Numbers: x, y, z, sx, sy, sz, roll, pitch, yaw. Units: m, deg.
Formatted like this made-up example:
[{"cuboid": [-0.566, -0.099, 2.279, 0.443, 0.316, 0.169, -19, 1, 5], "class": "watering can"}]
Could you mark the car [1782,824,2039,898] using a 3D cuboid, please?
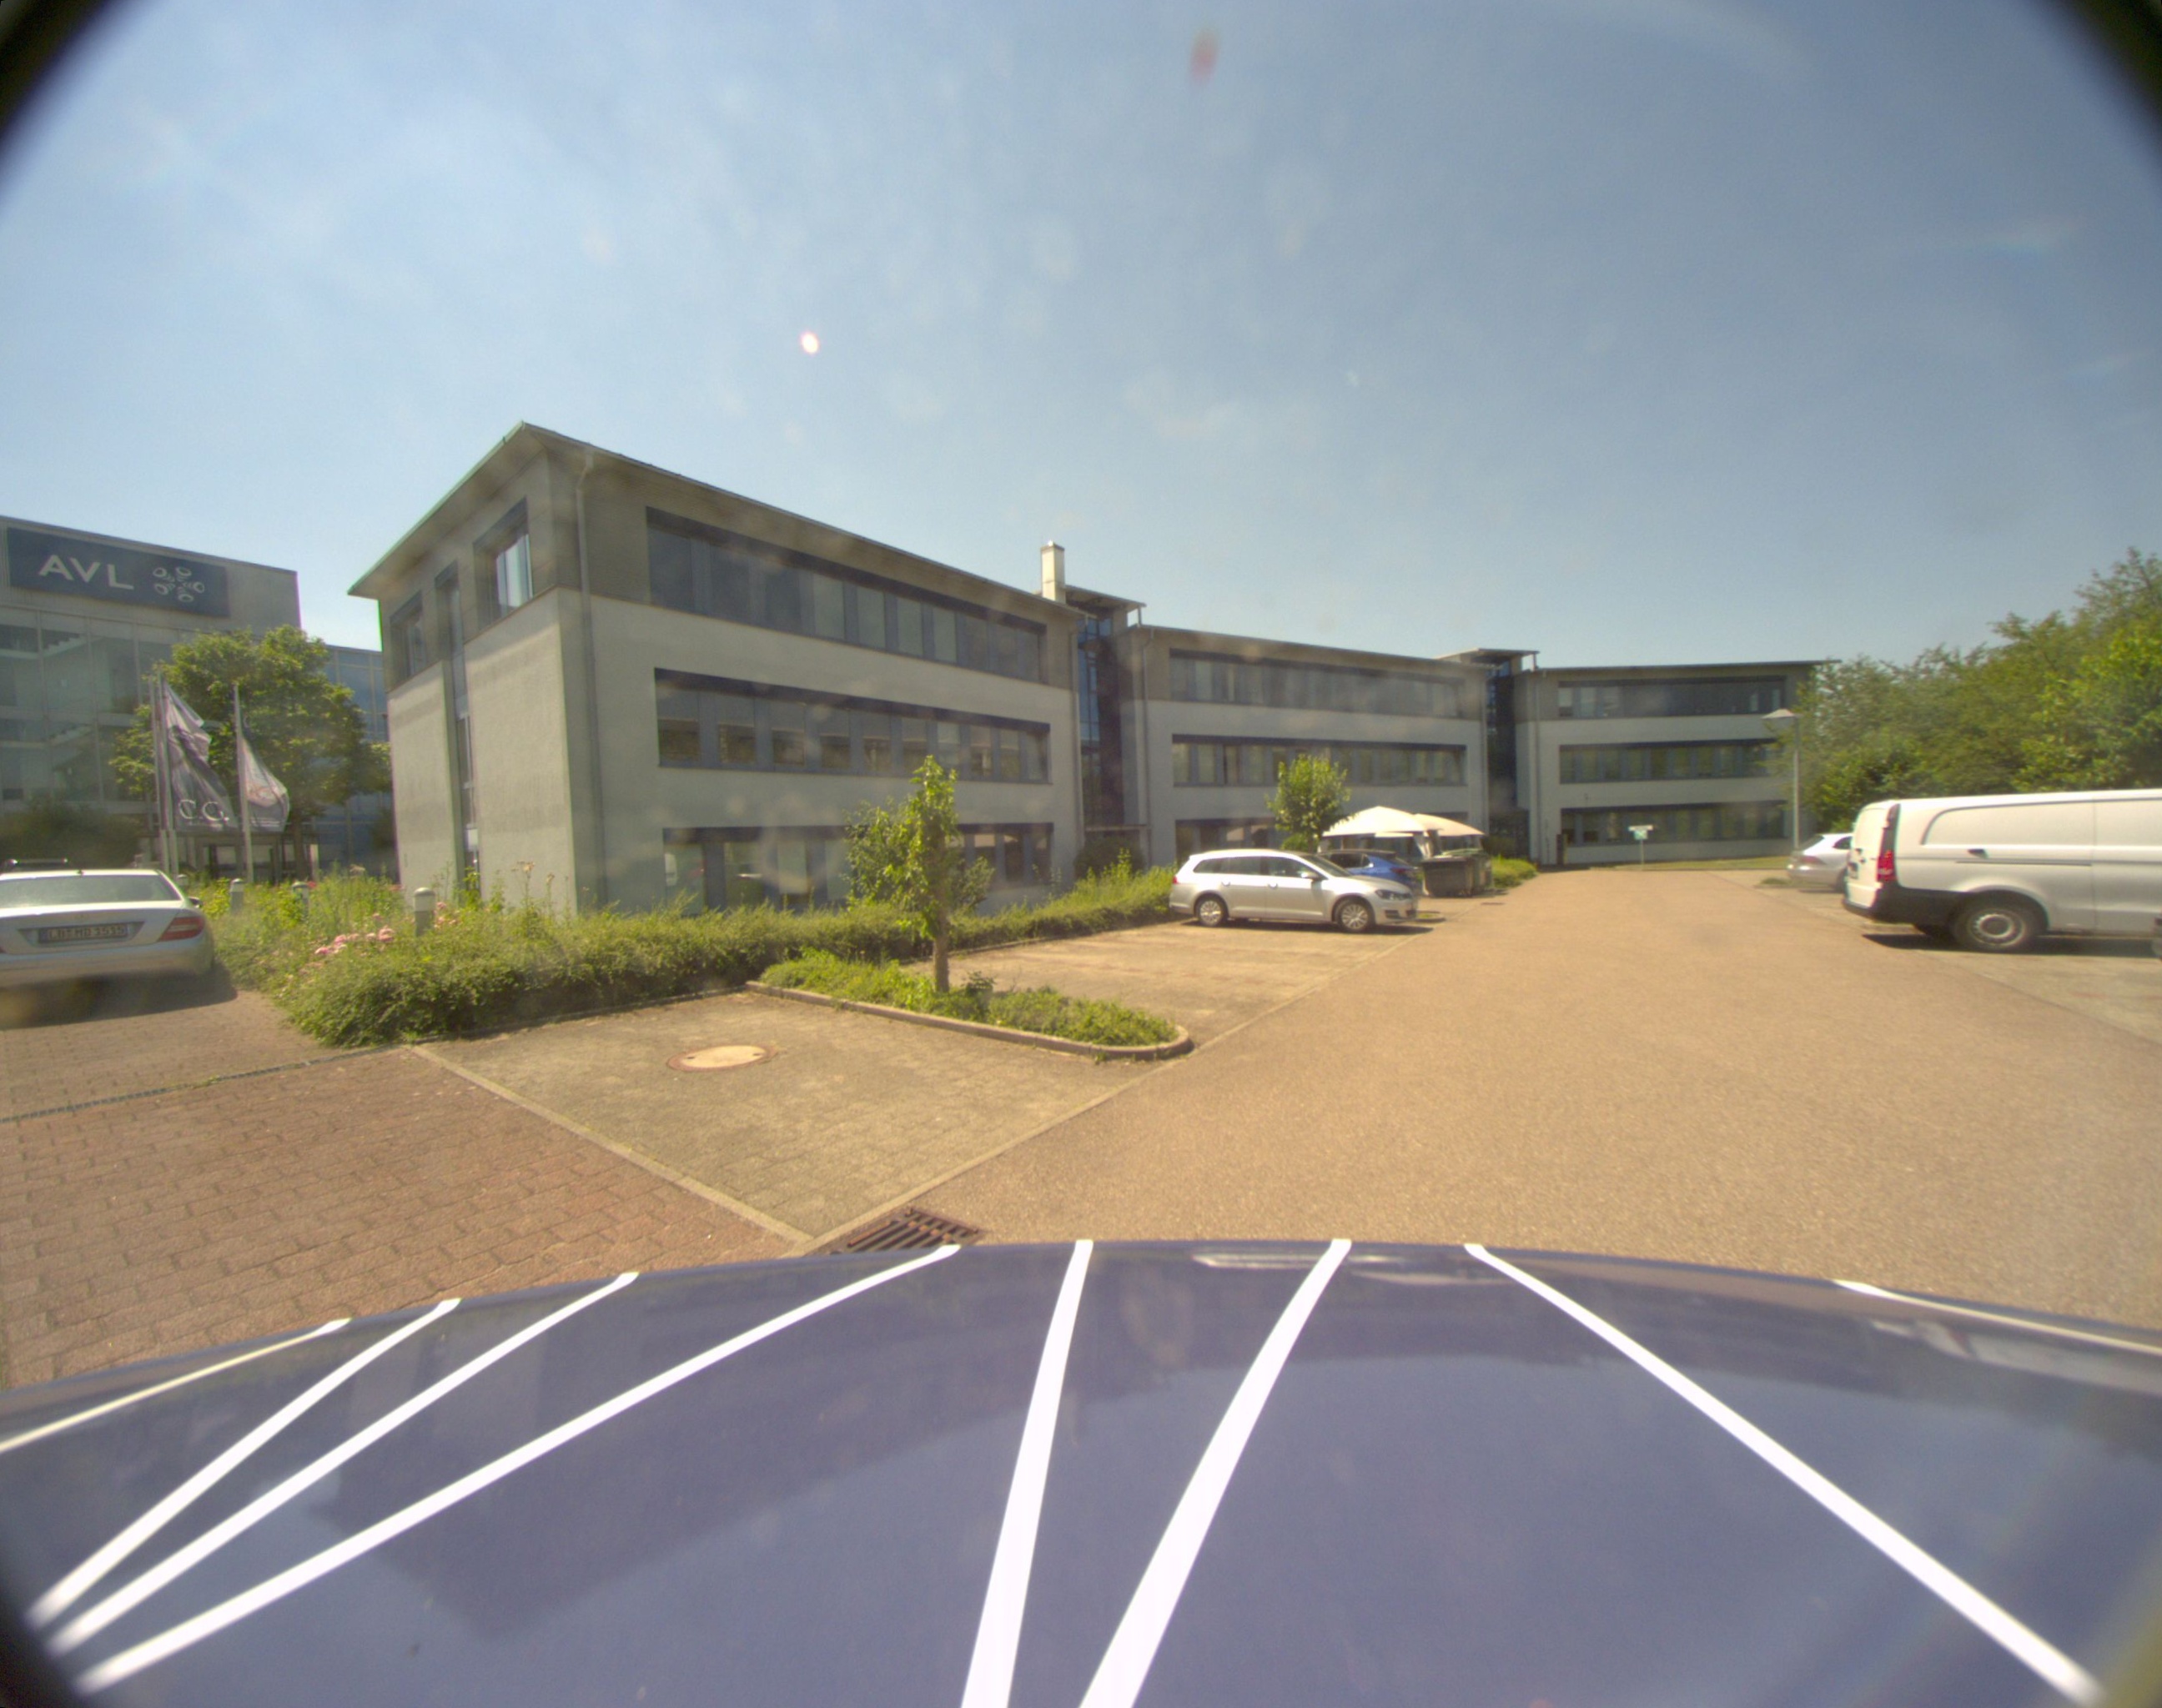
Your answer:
[{"cuboid": [19.013, 0.171, 17.682, 3.755, 1.549, 1.664, -1, 1, 34], "class": "car"}]

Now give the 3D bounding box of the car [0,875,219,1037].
[{"cuboid": [-11.182, 0.994, 8.418, 3.706, 1.428, 1.733, -1, 1, 36], "class": "car"}]

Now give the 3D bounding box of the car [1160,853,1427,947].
[{"cuboid": [3.944, 0.747, 14.369, 4.508, 1.489, 1.833, 0, 2, 34], "class": "car"}]

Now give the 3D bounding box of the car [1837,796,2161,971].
[{"cuboid": [12.177, 0.296, 8.838, 4.508, 1.871, 1.833, -1, 1, 34], "class": "car"}]

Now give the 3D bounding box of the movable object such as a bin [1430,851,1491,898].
[{"cuboid": [10.880, 0.572, 21.780, 1.361, 1.288, 1.045, -1, 1, 40], "class": "movable object such as a bin"}]

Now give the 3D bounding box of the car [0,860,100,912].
[{"cuboid": [-33.474, 0.996, 24.644, 3.989, 1.510, 1.753, -1, 1, 34], "class": "car"}]

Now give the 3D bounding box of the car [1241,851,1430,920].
[{"cuboid": [5.821, 0.650, 17.491, 3.816, 1.384, 1.655, 0, 2, 33], "class": "car"}]

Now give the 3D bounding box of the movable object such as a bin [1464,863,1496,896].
[{"cuboid": [11.713, 0.738, 22.306, 0.689, 0.944, 0.723, -1, 1, 40], "class": "movable object such as a bin"}]

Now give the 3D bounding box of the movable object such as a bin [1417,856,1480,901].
[{"cuboid": [10.160, 0.665, 20.998, 1.361, 1.182, 0.999, -1, 1, 40], "class": "movable object such as a bin"}]

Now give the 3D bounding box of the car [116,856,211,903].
[{"cuboid": [-32.701, 0.875, 27.063, 3.989, 1.510, 1.753, -1, 1, 34], "class": "car"}]
